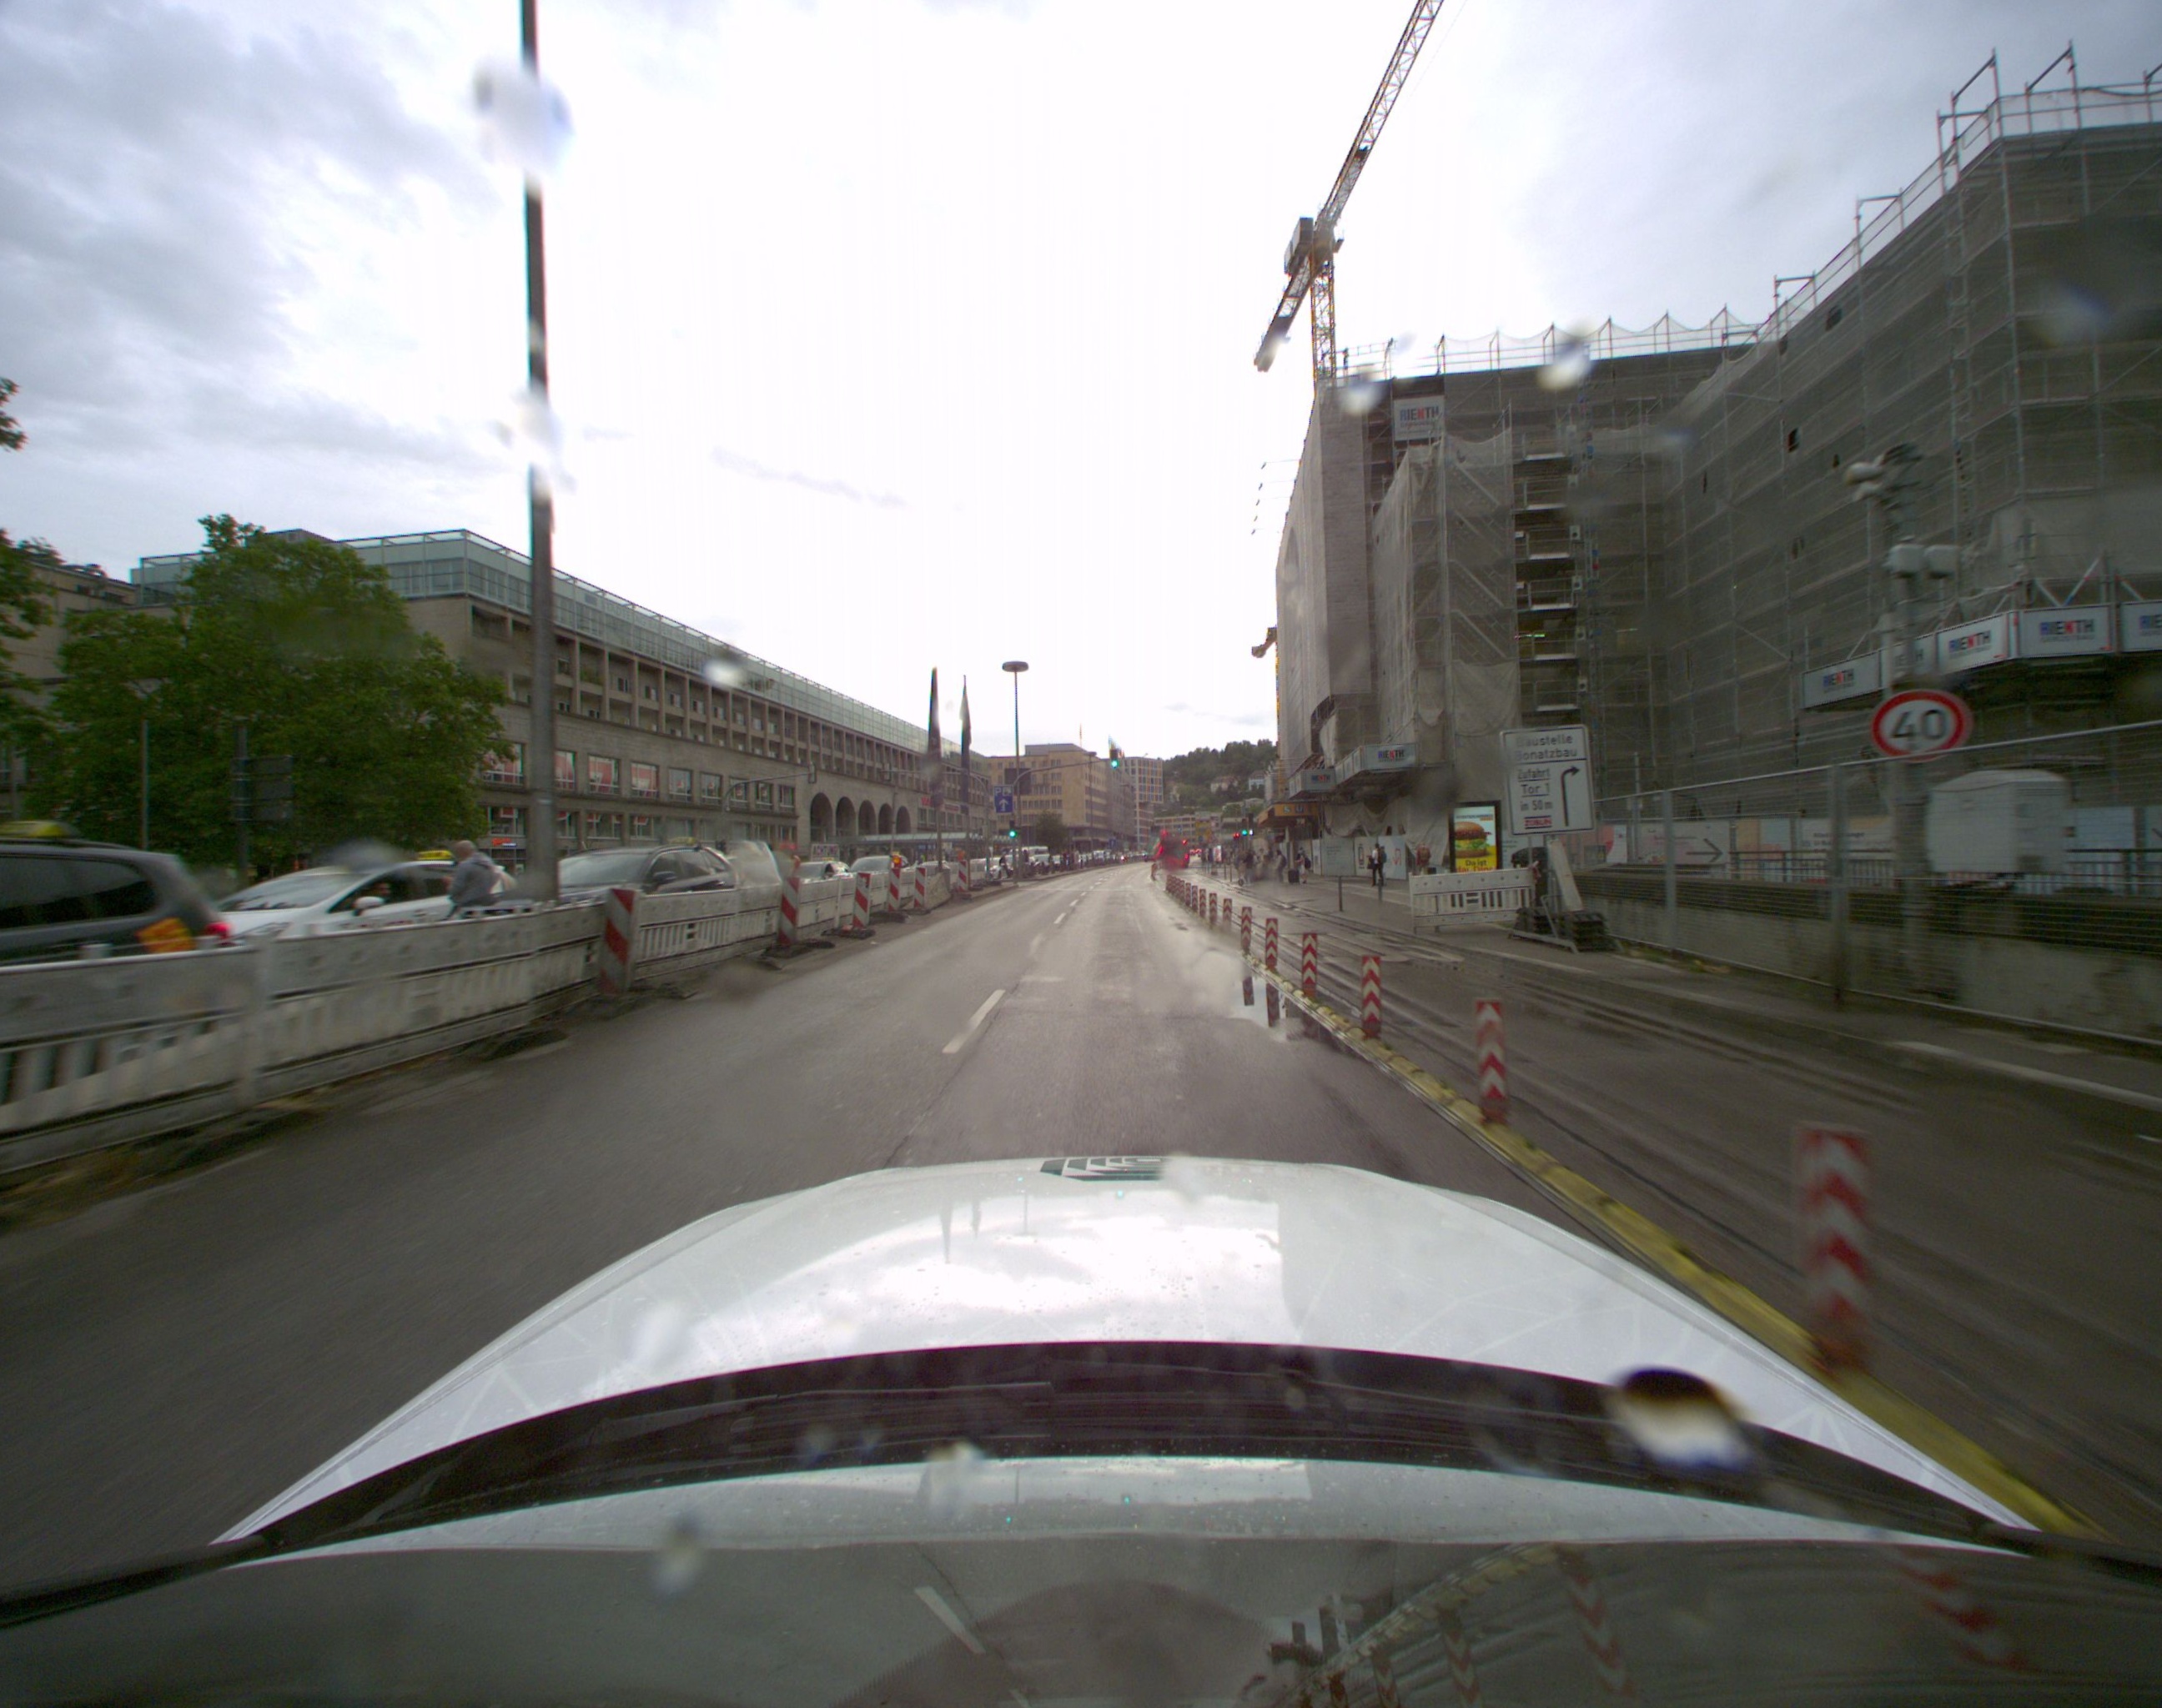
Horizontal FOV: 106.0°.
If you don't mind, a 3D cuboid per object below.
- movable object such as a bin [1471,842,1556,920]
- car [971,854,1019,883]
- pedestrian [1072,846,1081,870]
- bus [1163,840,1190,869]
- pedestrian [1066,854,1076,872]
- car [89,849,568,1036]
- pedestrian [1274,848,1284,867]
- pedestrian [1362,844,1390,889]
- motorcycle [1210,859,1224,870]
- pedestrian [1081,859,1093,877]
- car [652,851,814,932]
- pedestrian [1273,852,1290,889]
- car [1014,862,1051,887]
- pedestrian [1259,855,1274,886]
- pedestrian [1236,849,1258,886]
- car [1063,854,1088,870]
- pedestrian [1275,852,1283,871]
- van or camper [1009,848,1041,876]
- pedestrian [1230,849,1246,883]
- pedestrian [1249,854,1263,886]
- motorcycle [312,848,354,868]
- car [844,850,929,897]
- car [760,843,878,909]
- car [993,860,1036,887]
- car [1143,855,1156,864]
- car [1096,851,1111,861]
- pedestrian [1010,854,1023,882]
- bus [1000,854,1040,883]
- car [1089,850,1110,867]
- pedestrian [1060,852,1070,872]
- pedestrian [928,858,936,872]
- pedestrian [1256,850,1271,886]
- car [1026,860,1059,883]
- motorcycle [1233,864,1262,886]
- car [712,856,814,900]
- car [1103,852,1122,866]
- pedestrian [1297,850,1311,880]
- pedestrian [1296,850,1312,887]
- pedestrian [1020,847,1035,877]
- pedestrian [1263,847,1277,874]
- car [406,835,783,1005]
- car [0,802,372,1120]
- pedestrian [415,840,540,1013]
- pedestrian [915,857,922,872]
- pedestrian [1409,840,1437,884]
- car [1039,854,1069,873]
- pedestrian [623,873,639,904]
[{"bbox_3d":[8.884,0.541,16.693,1.286,1.492,1.543,-2,0,36],"label":"movable object such as a bin"},{"bbox_3d":[-5.233,0.832,50.365,2.005,1.621,4.849,-2,0,5],"label":"car"},{"bbox_3d":[-0.388,0.346,69.513,0.719,2.007,0.774,0,0,7],"label":"pedestrian"},{"bbox_3d":[10.696,0.037,90.615,2.739,3.068,9.101,0,0,8],"label":"bus"},{"bbox_3d":[-0.876,0.780,73.477,0.719,1.606,0.998,0,0,7],"label":"pedestrian"},{"bbox_3d":[-9.473,0.920,10.961,1.906,1.851,4.571,4,1,4],"label":"car"},{"bbox_3d":[16.303,0.290,67.028,0.647,1.540,0.667,-4,0,8],"label":"pedestrian"},{"bbox_3d":[11.579,0.485,31.996,0.732,1.677,0.959,-4,0,6],"label":"pedestrian"},{"bbox_3d":[14.118,1.081,84.587,1.626,1.166,0.579,0,-1,-44],"label":"motorcycle"},{"bbox_3d":[0.596,1.395,80.738,1.045,1.768,0.618,-2,-1,6],"label":"pedestrian"},{"bbox_3d":[-8.588,0.848,20.620,1.775,1.722,4.489,-2,1,5],"label":"car"},{"bbox_3d":[9.161,0.732,37.236,0.555,1.650,0.616,-4,0,8],"label":"pedestrian"},{"bbox_3d":[-3.687,1.567,63.073,1.919,1.690,4.691,-3,-1,7],"label":"car"},{"bbox_3d":[8.904,0.788,39.119,0.555,1.449,0.713,-4,0,8],"label":"pedestrian"},{"bbox_3d":[7.799,0.629,38.324,0.584,1.741,0.813,-1,0,-35],"label":"pedestrian"},{"bbox_3d":[-0.564,0.839,87.046,1.966,1.659,5.202,-3,-1,7],"label":"car"},{"bbox_3d":[19.574,0.728,80.553,0.641,1.847,0.660,-4,0,7],"label":"pedestrian"},{"bbox_3d":[-5.399,0.721,78.845,1.984,2.514,5.379,-4,0,6],"label":"van or camper"},{"bbox_3d":[8.445,0.642,43.895,0.557,1.759,0.750,-4,0,-6],"label":"pedestrian"},{"bbox_3d":[9.057,0.820,42.132,0.555,1.641,0.754,-4,0,8],"label":"pedestrian"},{"bbox_3d":[-40.153,0.226,43.751,0.528,1.047,1.719,-1,0,4],"label":"motorcycle"},{"bbox_3d":[-7.525,0.696,32.030,1.894,1.699,4.506,0,1,5],"label":"car"},{"bbox_3d":[-8.049,0.603,25.508,1.894,1.898,4.530,0,1,5],"label":"car"},{"bbox_3d":[-4.523,1.316,56.143,1.919,1.690,4.691,-3,-1,7],"label":"car"},{"bbox_3d":[11.741,0.940,139.437,1.985,1.552,4.003,-2,0,3],"label":"car"},{"bbox_3d":[3.507,0.276,127.937,1.984,1.552,4.006,-2,0,5],"label":"car"},{"bbox_3d":[-3.971,0.864,50.260,0.648,1.711,0.594,0,0,6],"label":"pedestrian"},{"bbox_3d":[-7.755,1.812,105.515,2.861,3.376,10.598,-1,0,8],"label":"bus"},{"bbox_3d":[2.532,0.578,109.661,1.982,2.178,5.558,-2,0,9],"label":"car"},{"bbox_3d":[-1.349,0.682,69.756,0.695,1.755,0.713,-2,0,7],"label":"pedestrian"},{"bbox_3d":[-15.459,1.108,84.556,0.707,1.393,0.699,0,0,-22],"label":"pedestrian"},{"bbox_3d":[9.077,0.685,40.529,0.555,1.752,0.713,-4,0,8],"label":"pedestrian"},{"bbox_3d":[-3.150,1.431,68.122,1.919,1.690,4.691,-3,-1,7],"label":"car"},{"bbox_3d":[7.817,0.986,38.311,0.589,1.021,1.226,-1,0,-35],"label":"motorcycle"},{"bbox_3d":[-11.218,0.794,29.034,1.986,1.442,4.001,0,0,1],"label":"car"},{"bbox_3d":[4.444,0.685,114.817,1.982,1.722,4.794,-2,0,9],"label":"car"},{"bbox_3d":[12.664,0.611,46.211,0.546,1.632,0.997,-4,0,7],"label":"pedestrian"},{"bbox_3d":[10.261,0.655,37.464,0.560,1.650,0.616,-4,0,12],"label":"pedestrian"},{"bbox_3d":[-3.372,0.492,51.087,0.780,1.775,0.605,-4,0,-5],"label":"pedestrian"},{"bbox_3d":[13.421,0.483,57.811,0.719,1.847,0.812,-4,0,7],"label":"pedestrian"},{"bbox_3d":[-6.268,0.702,11.390,1.984,1.817,4.818,-2,1,5],"label":"car"},{"bbox_3d":[-7.057,0.635,4.350,1.984,1.770,4.818,-2,1,5],"label":"car"},{"bbox_3d":[-7.339,0.850,9.950,0.872,2.013,0.822,-1,0,1],"label":"pedestrian"},{"bbox_3d":[-16.278,1.029,81.708,0.586,1.507,0.621,0,0,-22],"label":"pedestrian"},{"bbox_3d":[13.495,0.317,32.138,0.728,1.682,1.113,-2,0,10],"label":"pedestrian"},{"bbox_3d":[-2.415,0.889,74.480,1.919,1.576,5.271,-3,-1,7],"label":"car"},{"bbox_3d":[-24.282,1.854,43.931,0.528,1.642,0.608,-4,0,-13],"label":"pedestrian"}]
